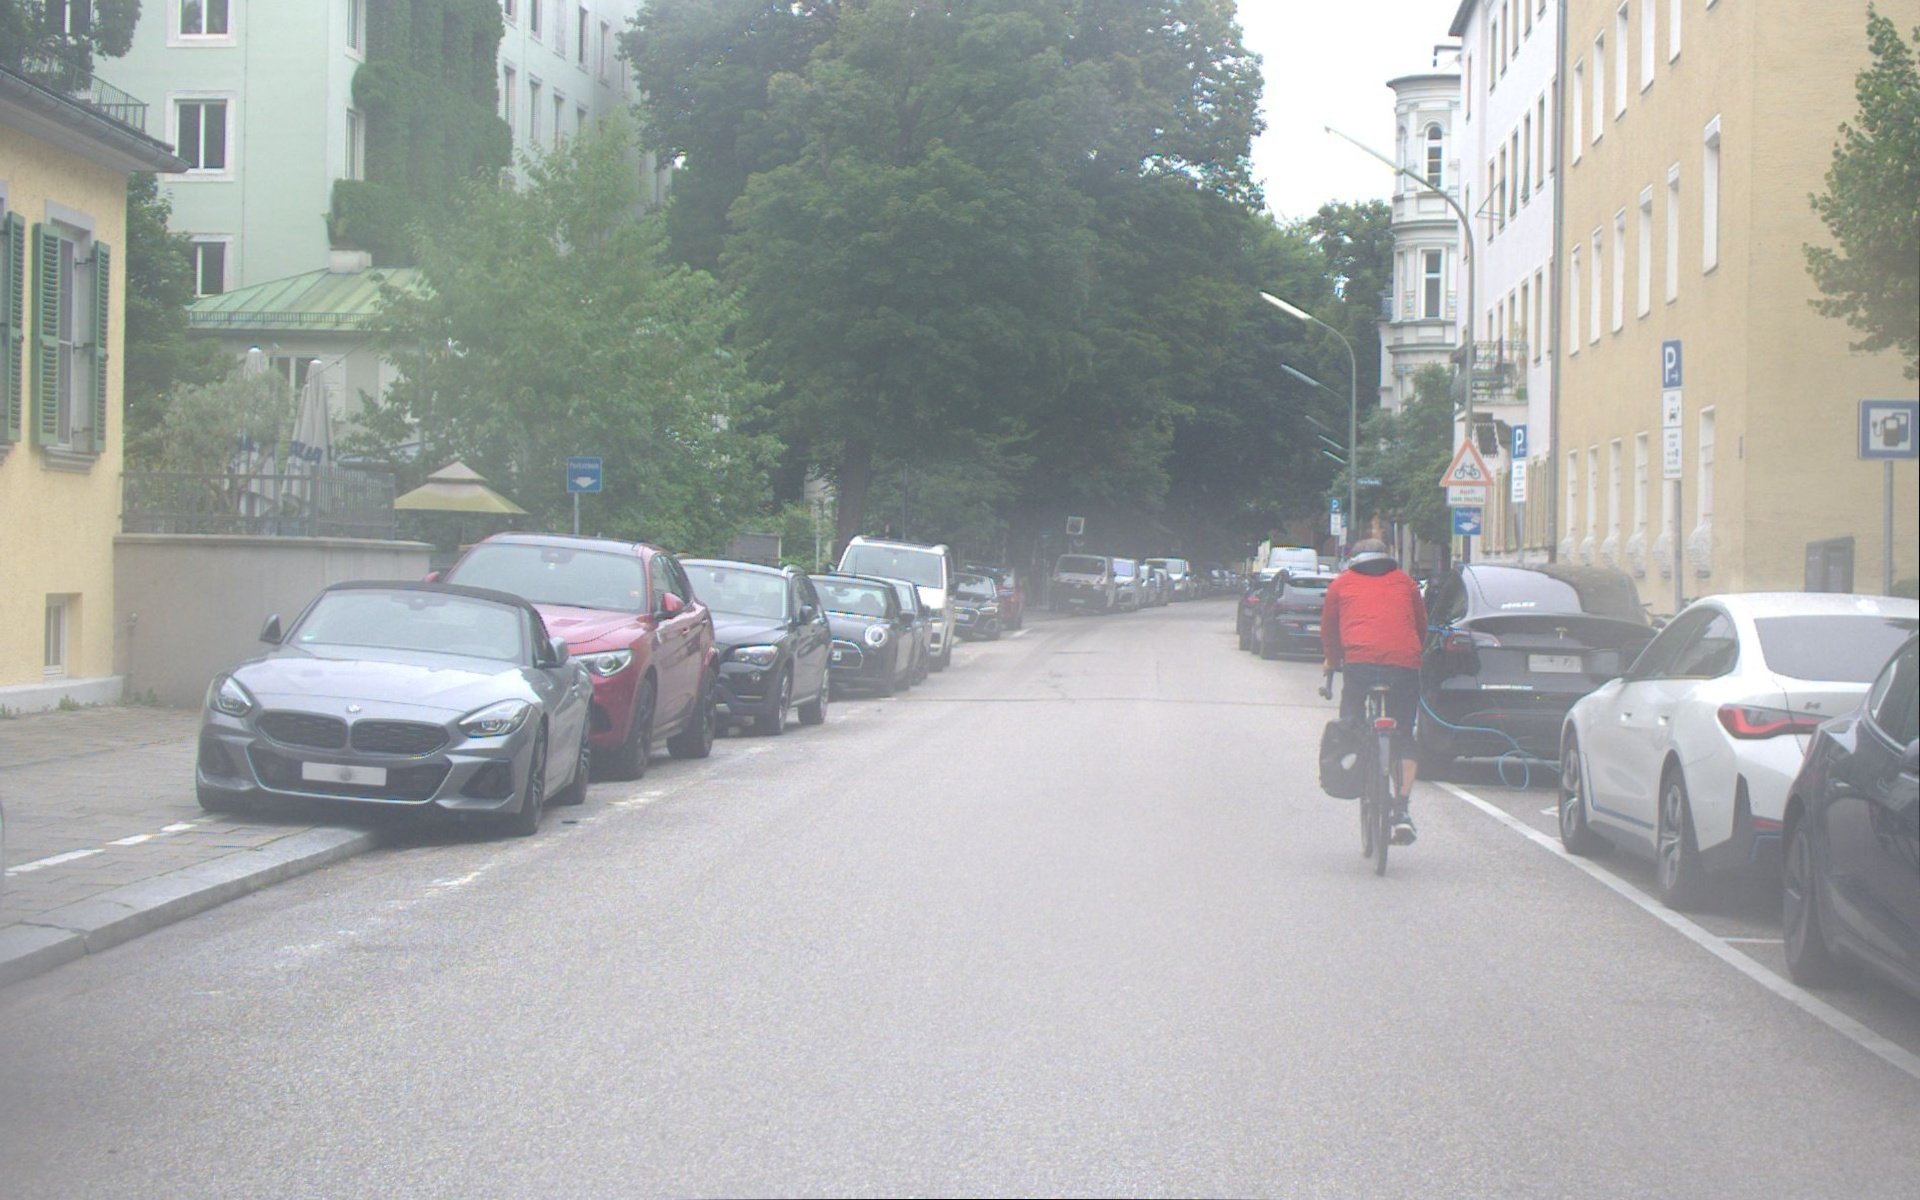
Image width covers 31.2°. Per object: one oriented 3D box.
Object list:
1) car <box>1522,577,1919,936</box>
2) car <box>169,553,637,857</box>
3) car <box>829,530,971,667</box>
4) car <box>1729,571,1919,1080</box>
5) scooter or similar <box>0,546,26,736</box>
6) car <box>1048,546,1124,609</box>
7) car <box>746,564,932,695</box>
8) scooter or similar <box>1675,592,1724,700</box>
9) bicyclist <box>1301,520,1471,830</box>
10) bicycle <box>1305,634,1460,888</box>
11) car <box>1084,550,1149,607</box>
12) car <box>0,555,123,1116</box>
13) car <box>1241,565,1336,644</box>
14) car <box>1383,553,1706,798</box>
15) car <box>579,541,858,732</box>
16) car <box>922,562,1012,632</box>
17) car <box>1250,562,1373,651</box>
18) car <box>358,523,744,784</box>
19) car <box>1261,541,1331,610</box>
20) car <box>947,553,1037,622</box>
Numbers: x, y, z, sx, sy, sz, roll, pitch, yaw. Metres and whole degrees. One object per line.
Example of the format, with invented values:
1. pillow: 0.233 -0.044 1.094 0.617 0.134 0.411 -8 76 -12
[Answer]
1. car: 4.176 0.667 16.993 1.993 1.455 4.957 2 1 1
2. car: -3.124 0.520 20.249 1.896 1.513 4.655 2 1 1
3. car: -0.903 -0.051 54.415 1.966 1.983 5.151 2 1 1
4. car: 4.000 0.719 11.536 1.962 1.547 4.849 2 1 3
5. scooter or similar: -6.958 0.284 23.465 0.364 1.309 1.251 1 1 28
6. car: 4.165 -0.747 112.849 2.248 1.950 5.453 2 1 4
7. car: -1.466 0.337 43.368 1.859 1.539 4.187 -1 0 5
8. scooter or similar: 8.706 0.531 40.500 0.342 1.251 1.309 -1 0 3
9. bicyclist: 2.117 0.362 17.197 0.754 1.478 0.981 2 0 5
10. bicycle: 2.089 0.766 17.184 0.672 1.137 2.010 2 0 5
11. car: 5.680 -0.787 124.470 2.184 1.950 5.166 2 1 4
12. car: -3.456 0.613 7.913 1.725 1.487 4.461 2 1 3
13. car: 6.532 0.067 68.527 1.839 1.526 4.415 0 1 5
14. car: 4.387 0.501 26.533 1.994 1.625 5.099 2 1 5
15. car: -2.192 0.301 32.519 1.846 1.602 4.742 2 1 5
16. car: 0.181 -0.087 75.167 1.807 1.397 4.924 2 1 1
17. car: 6.405 0.085 63.084 1.860 1.571 4.899 0 1 1
18. car: -2.920 0.338 25.638 1.902 1.686 4.807 2 1 4
19. car: 10.928 -0.791 112.191 2.204 2.201 4.854 0 0 5
20. car: 0.820 -0.325 84.880 1.887 1.585 4.527 2 1 4
